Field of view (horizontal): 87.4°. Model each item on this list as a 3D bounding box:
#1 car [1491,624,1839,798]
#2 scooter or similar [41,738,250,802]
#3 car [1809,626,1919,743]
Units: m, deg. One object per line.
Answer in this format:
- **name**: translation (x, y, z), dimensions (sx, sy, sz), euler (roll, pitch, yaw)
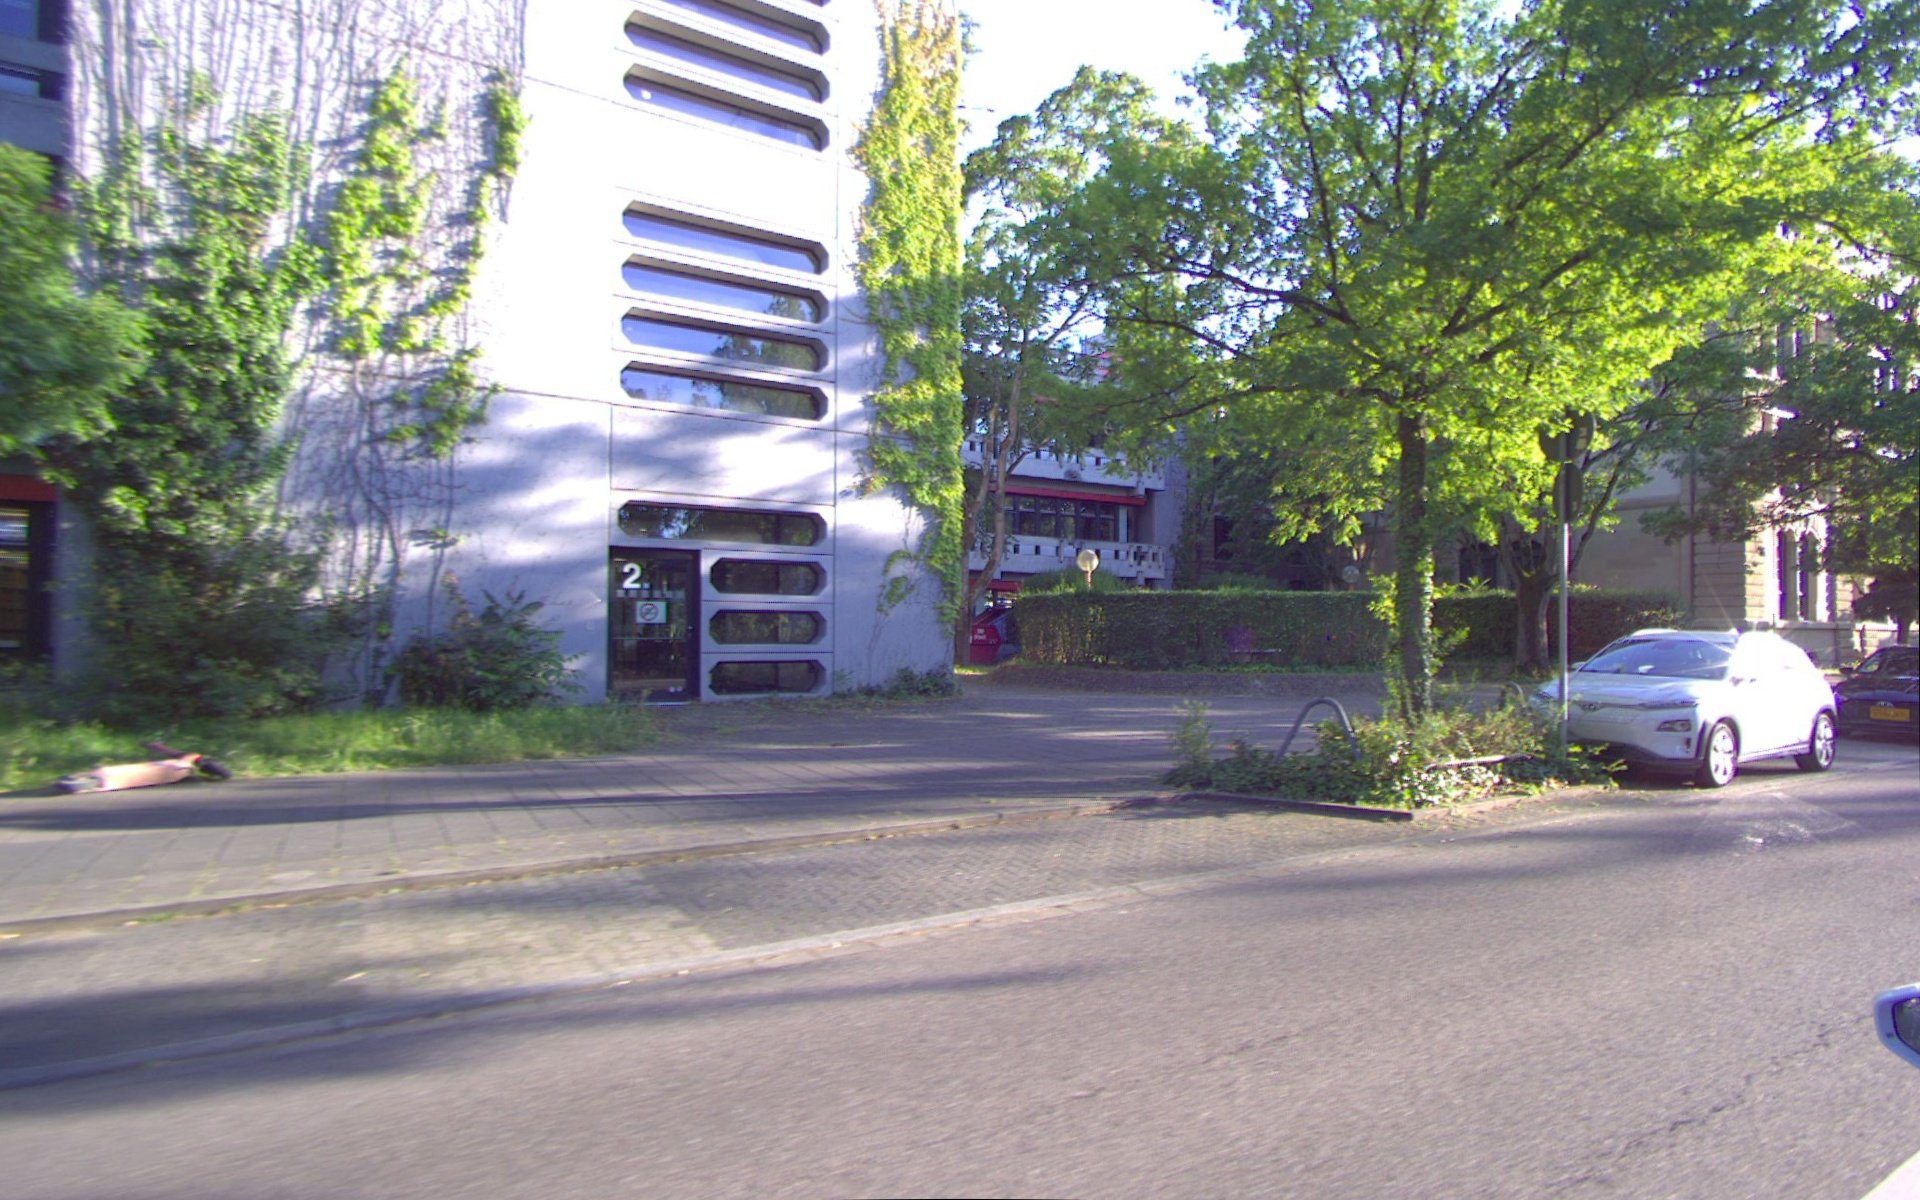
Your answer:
- **car**: translation (8.013, 1.121, 11.338), dimensions (4.101, 1.637, 1.793), euler (2, -2, -32)
- **scooter or similar**: translation (-6.923, 1.417, 8.543), dimensions (1.149, 0.280, 1.243), euler (0, -1, 43)
- **car**: translation (15.165, 1.268, 15.686), dimensions (4.101, 1.637, 1.770), euler (2, -1, -32)
